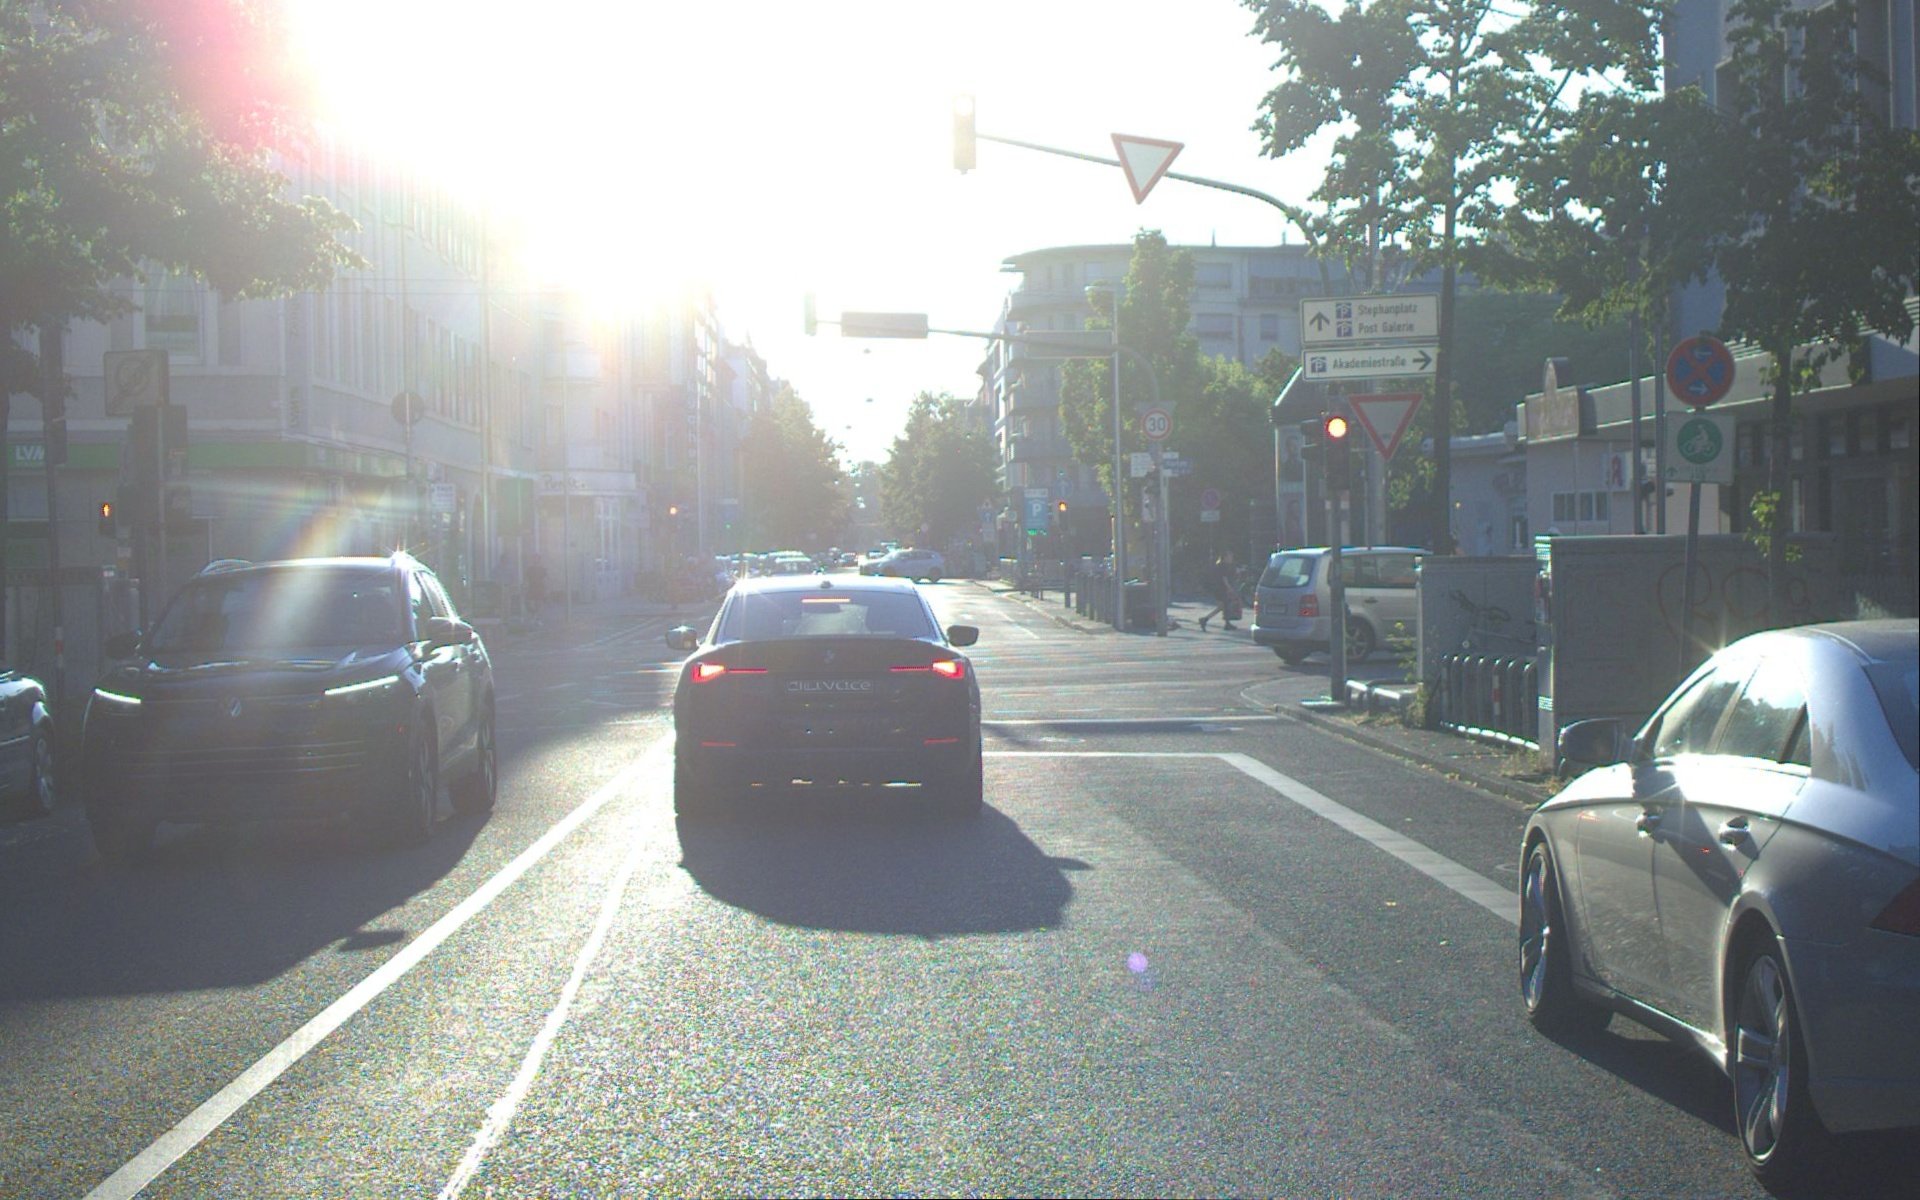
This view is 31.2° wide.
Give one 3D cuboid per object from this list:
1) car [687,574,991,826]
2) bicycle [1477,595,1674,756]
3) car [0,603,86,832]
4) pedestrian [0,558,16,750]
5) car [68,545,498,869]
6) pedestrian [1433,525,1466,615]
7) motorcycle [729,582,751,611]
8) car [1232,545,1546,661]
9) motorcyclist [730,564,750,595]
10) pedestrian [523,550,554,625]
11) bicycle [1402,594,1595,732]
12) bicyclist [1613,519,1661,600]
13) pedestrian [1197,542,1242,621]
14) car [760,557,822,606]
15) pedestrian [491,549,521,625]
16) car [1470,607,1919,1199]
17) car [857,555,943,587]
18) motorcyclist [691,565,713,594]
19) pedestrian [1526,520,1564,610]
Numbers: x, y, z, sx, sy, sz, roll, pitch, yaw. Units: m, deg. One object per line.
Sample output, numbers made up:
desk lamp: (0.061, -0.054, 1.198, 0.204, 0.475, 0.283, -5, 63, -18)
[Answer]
car: (-0.771, 0.559, 21.840, 1.736, 1.424, 4.224, 0, 1, -2)
bicycle: (4.783, 0.581, 26.744, 1.441, 1.216, 0.383, 1, 0, 1)
car: (-6.862, 0.782, 21.545, 1.723, 1.411, 4.281, -3, 0, -2)
pedestrian: (-9.747, 0.535, 33.377, 1.001, 1.854, 0.640, -2, 1, -21)
car: (-3.862, 0.531, 20.295, 1.730, 1.669, 4.296, -1, 1, -1)
pedestrian: (9.464, -0.582, 66.425, 0.442, 1.729, 0.434, 1, 0, -26)
motorcycle: (-7.089, -0.121, 110.849, 0.575, 0.912, 2.201, 1, 1, -1)
car: (6.036, 0.021, 48.449, 3.986, 1.527, 1.804, -1, 1, -18)
motorcyclist: (-7.095, -0.651, 110.831, 0.575, 0.992, 0.702, 1, 0, -1)
pedestrian: (-10.527, -0.312, 85.865, 0.676, 1.870, 0.618, 1, 0, -1)
bicycle: (4.674, 0.541, 29.890, 1.613, 1.167, 0.318, -1, 1, 1)
bicyclist: (12.388, -0.737, 62.915, 0.721, 1.476, 0.551, 0, 0, 28)
pedestrian: (5.078, -0.362, 67.312, 0.732, 1.524, 0.473, 1, 0, -15)
car: (-5.451, -0.600, 111.289, 1.818, 1.514, 4.000, -1, 1, -1)
pedestrian: (-11.317, -0.321, 85.677, 0.643, 1.870, 0.632, 1, 0, -1)
car: (2.720, 0.768, 9.525, 1.742, 1.396, 4.640, 1, 1, -2)
car: (-3.024, -1.478, 174.862, 3.987, 1.514, 1.824, -2, 1, -33)
motorcyclist: (-8.370, -0.675, 111.518, 0.575, 0.912, 2.201, 1, 1, -1)
pedestrian: (11.259, -0.672, 66.150, 0.478, 1.729, 0.531, 1, 0, -26)
